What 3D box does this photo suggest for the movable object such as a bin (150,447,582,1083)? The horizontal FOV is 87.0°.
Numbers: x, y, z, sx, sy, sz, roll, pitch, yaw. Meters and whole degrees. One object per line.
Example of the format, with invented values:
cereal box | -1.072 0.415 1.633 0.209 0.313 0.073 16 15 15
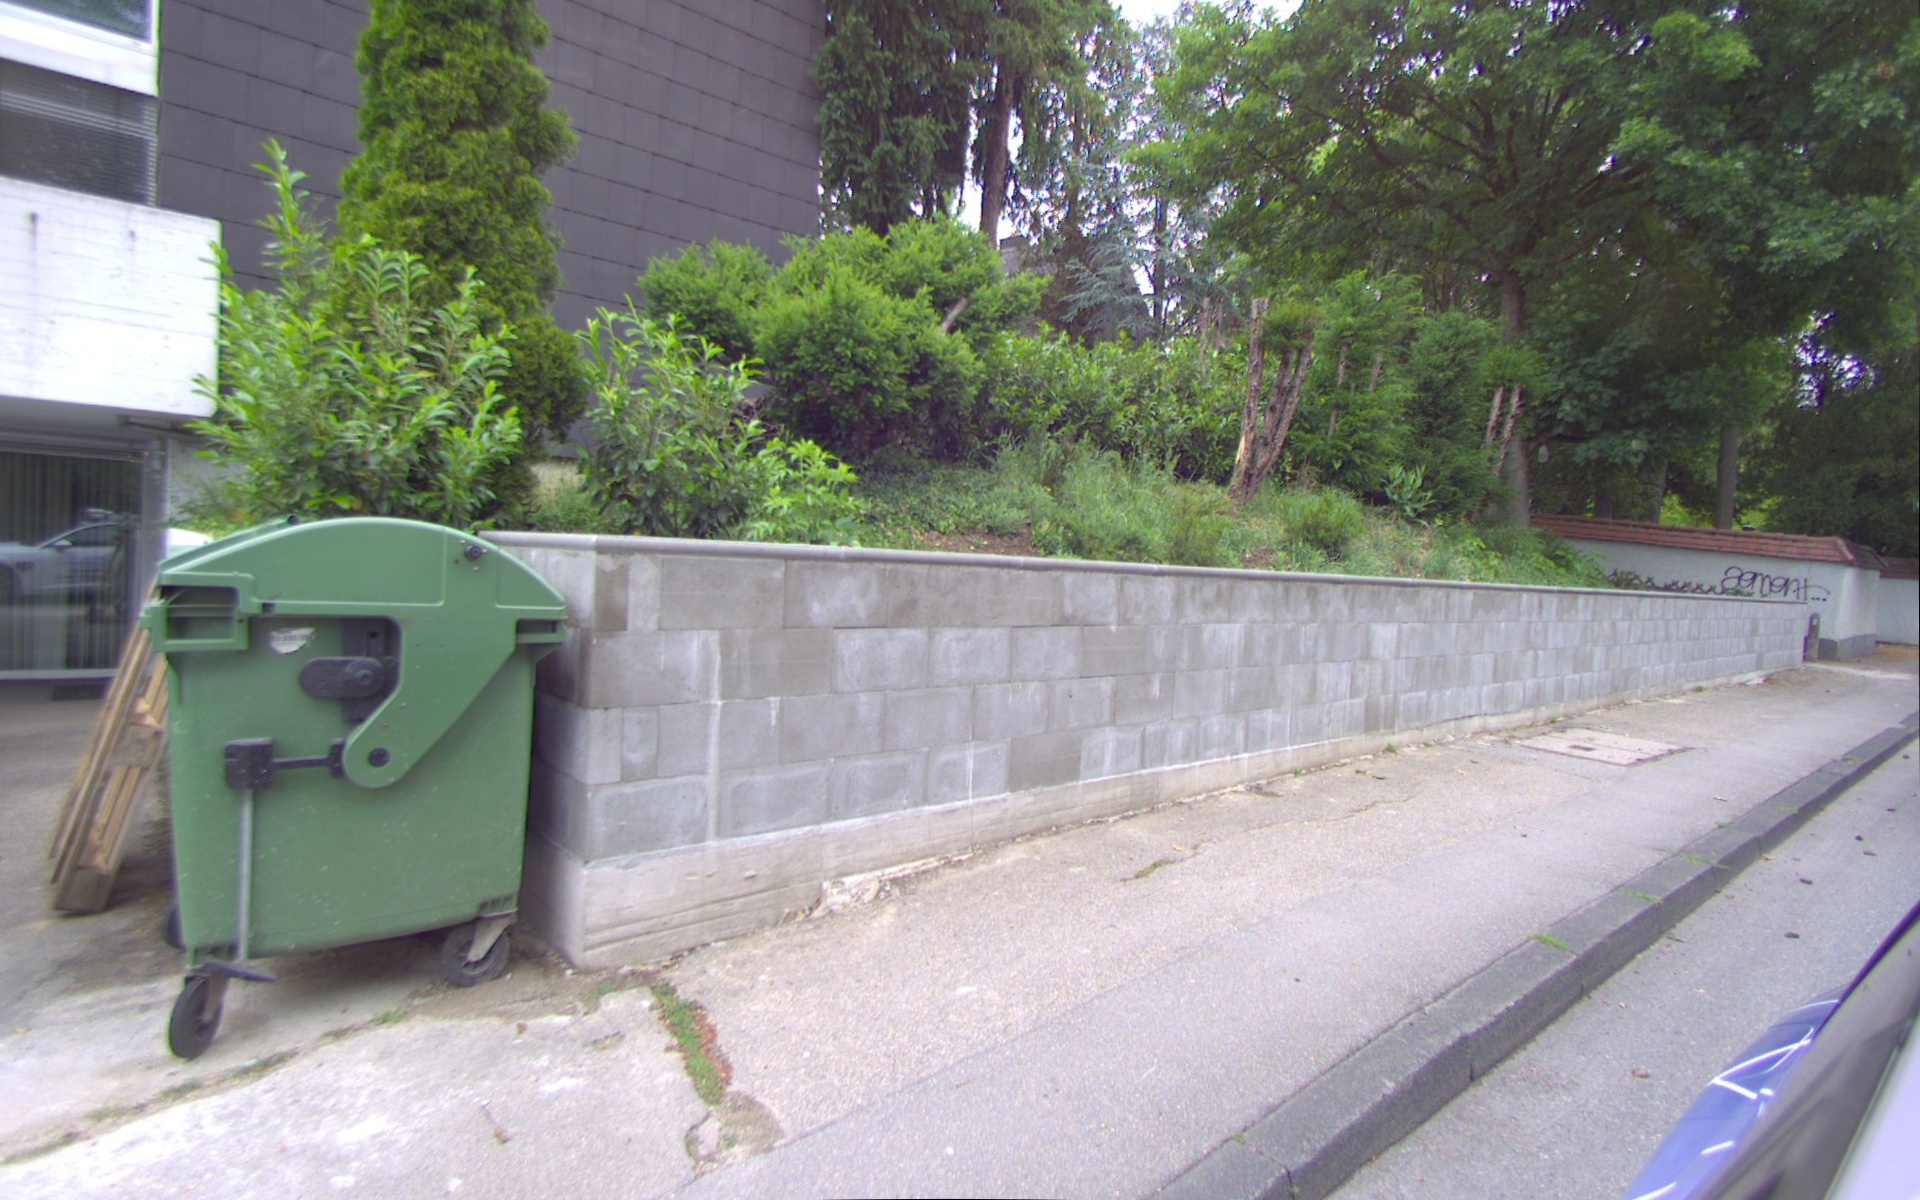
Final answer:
movable object such as a bin | -1.882 0.380 3.178 1.014 1.549 1.037 0 2 -39
